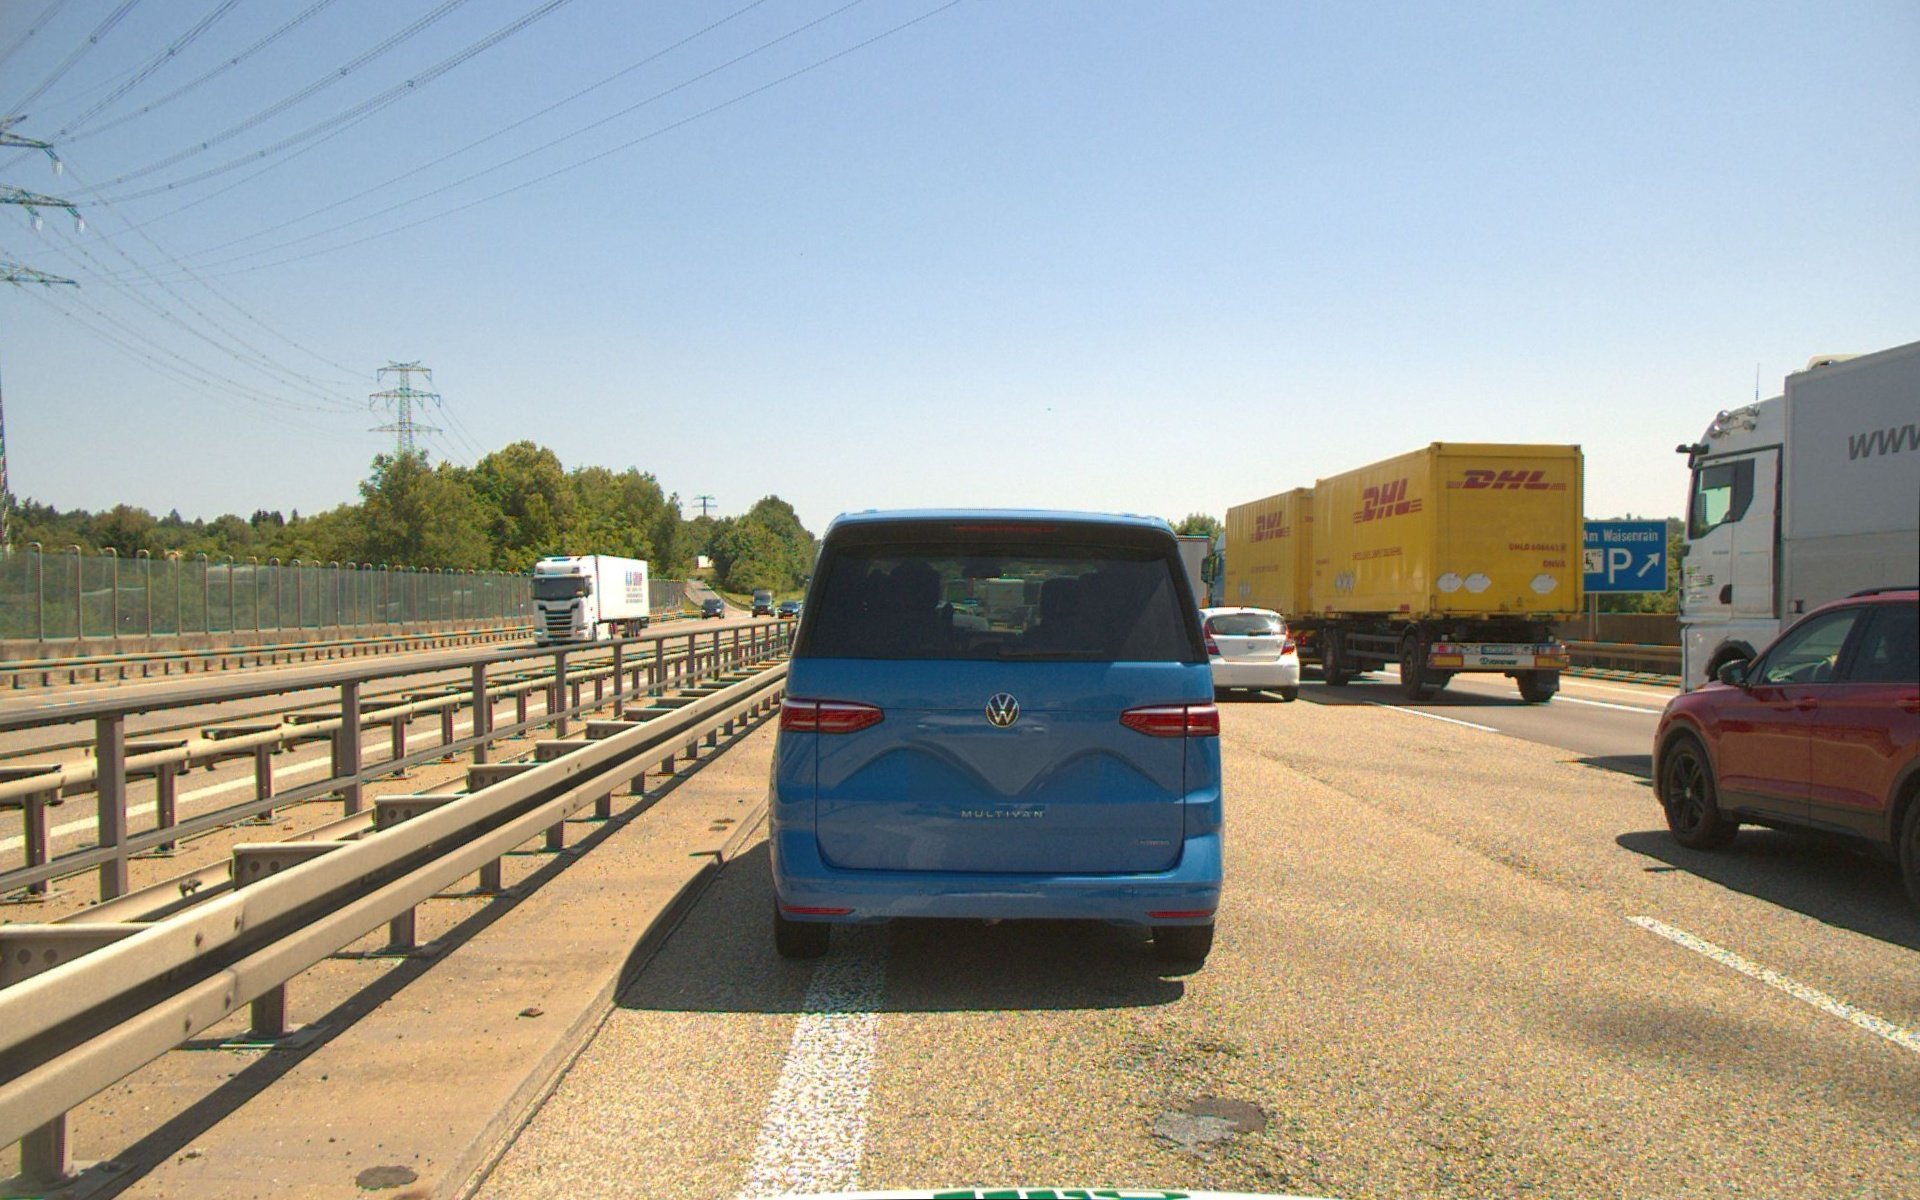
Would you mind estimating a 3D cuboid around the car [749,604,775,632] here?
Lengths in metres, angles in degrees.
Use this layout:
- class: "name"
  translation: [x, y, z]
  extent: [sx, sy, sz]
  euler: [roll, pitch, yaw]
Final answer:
- class: "car"
  translation: [-19.317, 1.792, 161.617]
  extent: [1.953, 2.627, 6.647]
  euler: [-2, -1, -2]

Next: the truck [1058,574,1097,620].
- class: "truck"
  translation: [6.568, -0.145, 92.694]
  extent: [1.761, 2.492, 4.503]
  euler: [1, -1, -1]

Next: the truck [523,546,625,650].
- class: "truck"
  translation: [-17.502, -0.052, 75.459]
  extent: [2.869, 4.368, 6.857]
  euler: [-3, -1, 0]

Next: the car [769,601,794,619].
- class: "car"
  translation: [-15.596, 0.903, 144.822]
  extent: [1.736, 1.518, 4.604]
  euler: [-1, 0, -1]

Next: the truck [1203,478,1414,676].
- class: "truck"
  translation: [8.125, -0.434, 40.062]
  extent: [2.645, 4.159, 9.935]
  euler: [1, -1, -2]

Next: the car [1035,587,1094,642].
- class: "car"
  translation: [3.942, 0.563, 62.934]
  extent: [1.922, 1.970, 3.931]
  euler: [1, -1, -1]

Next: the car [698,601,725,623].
- class: "car"
  translation: [-23.683, 1.158, 157.759]
  extent: [1.918, 1.939, 4.948]
  euler: [-2, -1, -2]

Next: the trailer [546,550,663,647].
- class: "trailer"
  translation: [-17.518, 0.007, 82.589]
  extent: [2.847, 4.383, 13.659]
  euler: [-2, -1, 0]

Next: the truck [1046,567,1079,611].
- class: "truck"
  translation: [6.270, -0.652, 101.495]
  extent: [1.706, 2.593, 4.209]
  euler: [1, -1, -1]

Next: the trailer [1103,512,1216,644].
- class: "trailer"
  translation: [7.653, -0.725, 65.029]
  extent: [2.965, 4.692, 10.922]
  euler: [1, -1, -1]

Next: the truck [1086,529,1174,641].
- class: "truck"
  translation: [7.549, -0.596, 74.461]
  extent: [2.965, 4.692, 7.919]
  euler: [1, -1, -1]

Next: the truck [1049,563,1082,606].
- class: "truck"
  translation: [6.803, -0.985, 106.744]
  extent: [1.760, 2.641, 4.304]
  euler: [1, -1, -1]

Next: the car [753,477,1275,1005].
- class: "car"
  translation: [0.170, 0.543, 8.092]
  extent: [1.891, 1.906, 3.999]
  euler: [1, -1, -1]

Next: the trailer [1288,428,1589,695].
- class: "trailer"
  translation: [8.480, -0.558, 30.684]
  extent: [2.629, 4.159, 8.976]
  euler: [1, -1, -2]

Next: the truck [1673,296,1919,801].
- class: "truck"
  translation: [9.015, -0.402, 12.088]
  extent: [2.794, 4.003, 10.606]
  euler: [1, -1, -1]

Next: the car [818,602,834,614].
- class: "car"
  translation: [-19.134, 1.123, 236.484]
  extent: [1.953, 1.571, 4.385]
  euler: [-2, -1, -1]

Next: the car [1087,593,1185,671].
- class: "car"
  translation: [4.087, 0.742, 38.954]
  extent: [1.778, 1.708, 3.931]
  euler: [1, -1, -1]

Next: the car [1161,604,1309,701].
- class: "car"
  translation: [4.578, 0.852, 28.052]
  extent: [1.778, 1.496, 3.931]
  euler: [1, -1, -1]

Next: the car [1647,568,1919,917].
- class: "car"
  translation: [5.530, 0.717, 9.089]
  extent: [1.674, 1.708, 4.283]
  euler: [1, -1, -1]
